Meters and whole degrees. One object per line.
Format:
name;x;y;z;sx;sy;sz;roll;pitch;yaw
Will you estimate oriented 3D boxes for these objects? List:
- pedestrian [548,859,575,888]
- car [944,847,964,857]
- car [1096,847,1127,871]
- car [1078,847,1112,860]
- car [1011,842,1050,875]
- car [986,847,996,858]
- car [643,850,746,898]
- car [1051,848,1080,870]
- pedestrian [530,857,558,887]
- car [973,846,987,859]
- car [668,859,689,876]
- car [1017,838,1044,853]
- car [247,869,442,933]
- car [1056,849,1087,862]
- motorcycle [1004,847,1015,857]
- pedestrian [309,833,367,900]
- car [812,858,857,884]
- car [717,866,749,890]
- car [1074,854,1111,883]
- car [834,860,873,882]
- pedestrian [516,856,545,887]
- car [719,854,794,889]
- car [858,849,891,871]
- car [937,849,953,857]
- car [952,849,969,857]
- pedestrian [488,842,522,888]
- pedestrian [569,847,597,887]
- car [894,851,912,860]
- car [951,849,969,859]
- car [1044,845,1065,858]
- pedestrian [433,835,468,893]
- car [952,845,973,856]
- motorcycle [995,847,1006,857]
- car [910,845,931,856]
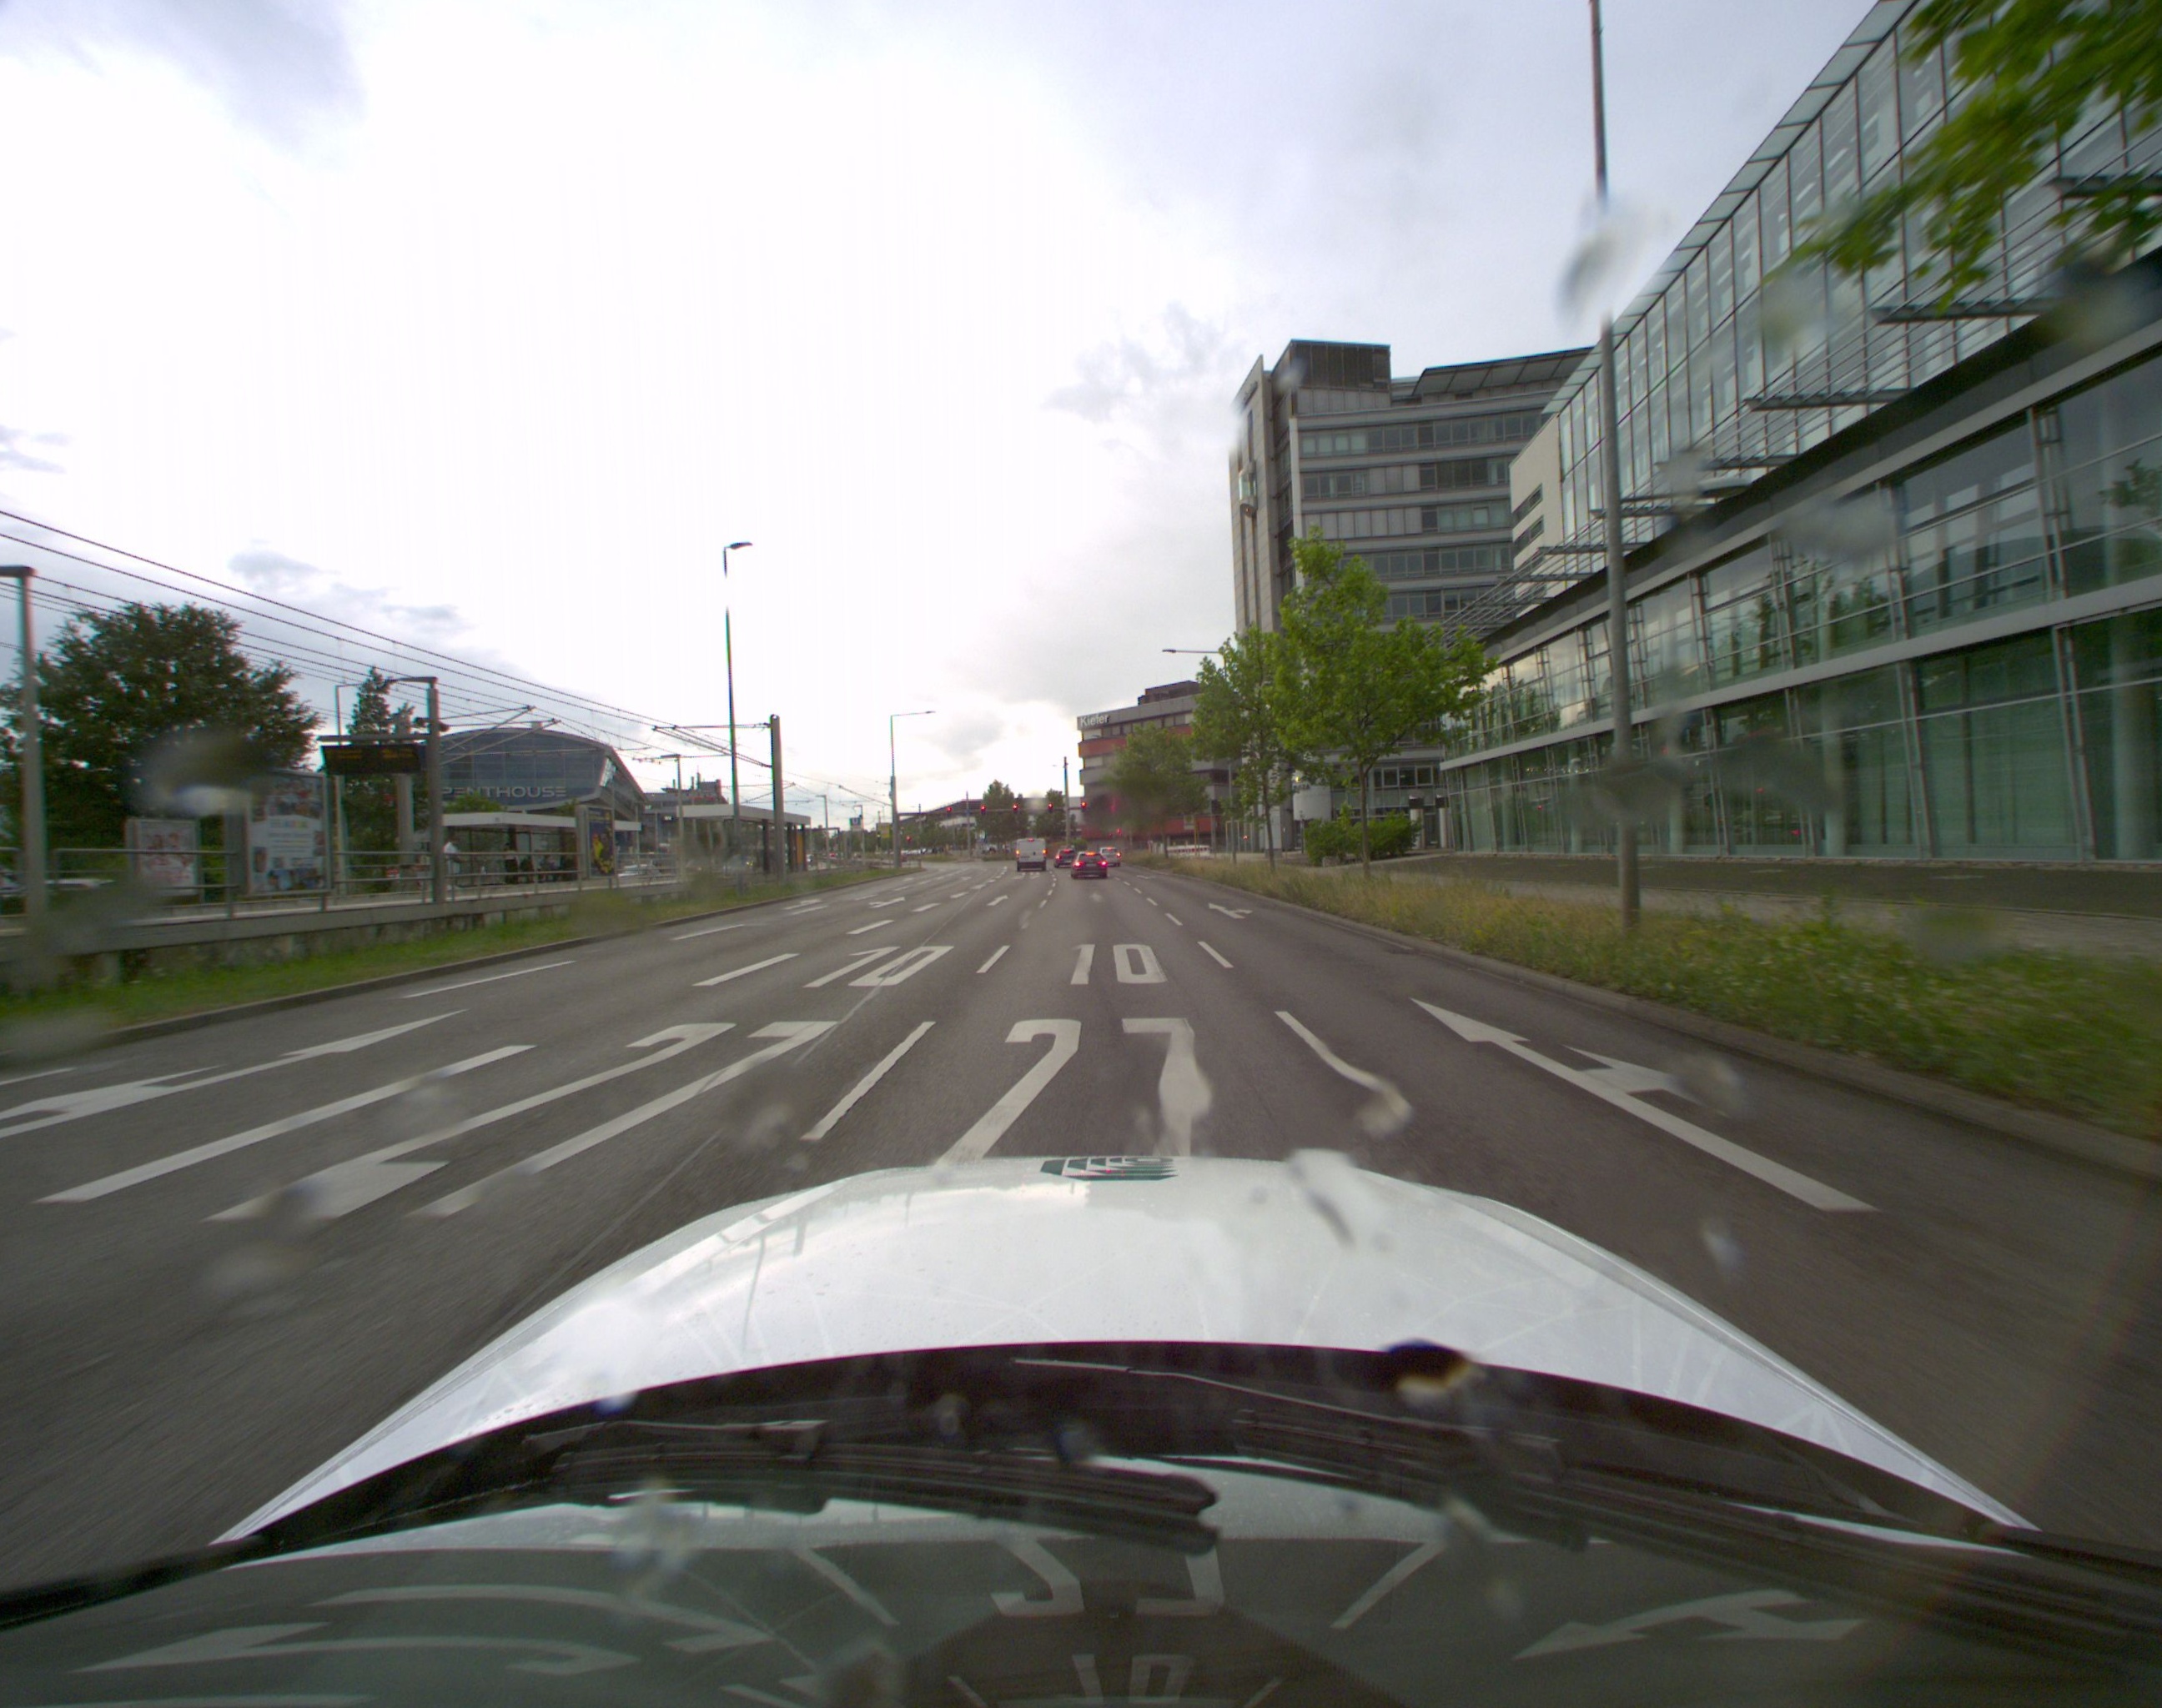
pedestrian;-23.111;0.856;36.254;0.725;1.253;0.730;-1;-2;-5
car;-27.285;-0.520;174.944;4.000;2.014;1.986;0;-3;-20
car;2.332;0.353;63.203;2.016;1.769;3.996;-1;0;-3
car;1.806;-0.041;106.721;2.039;1.623;4.272;0;-1;-44
car;-3.536;0.325;57.948;2.504;2.177;5.146;-1;-1;-1
car;-17.988;-0.295;163.293;1.817;2.014;3.460;-1;-3;-8
car;-13.909;0.667;29.552;1.989;1.452;3.844;-1;2;-3
car;-1.277;0.429;63.814;2.018;1.623;3.993;-1;-1;-5
pedestrian;-23.161;0.792;35.123;0.725;1.253;0.730;-1;-2;-5
car;-18.261;-0.252;147.290;1.996;2.014;3.980;-1;-3;-14
car;-52.207;1.756;105.592;2.008;2.014;3.957;1;-4;-34
car;-7.416;-1.182;119.497;2.011;2.014;3.951;2;-2;-44
car;-18.065;1.105;20.211;1.855;1.336;3.330;-1;0;-3
car;-1.290;0.201;110.150;2.039;1.623;3.951;0;-1;-44
motorcycle;-16.303;-0.421;186.183;1.996;2.014;3.980;0;-3;-13
pedestrian;-22.899;0.394;25.133;0.856;2.014;1.036;0;-4;-12
car;-16.777;1.150;55.600;1.989;1.675;3.843;2;-1;-3
car;-33.907;2.346;79.381;1.994;2.014;3.984;-1;-5;-10
car;0.664;0.748;43.875;1.756;1.463;4.631;0;0;3
car;-17.135;1.270;61.563;1.989;1.452;3.843;2;0;-3
pedestrian;-22.884;0.715;33.855;0.725;1.253;0.730;-1;-2;-5
car;-14.486;0.802;36.601;1.989;1.453;3.842;-1;-2;-3
car;-17.738;0.516;70.192;1.989;1.809;3.843;2;-1;-3
car;-37.371;-0.320;224.285;4.000;2.014;1.986;0;-3;-20
car;-30.786;-0.235;208.749;4.000;2.014;1.986;0;-3;-20
pedestrian;-22.038;0.425;31.178;0.727;1.715;0.830;-1;-2;-2
pedestrian;-22.095;0.593;36.125;0.750;1.751;0.763;-1;-3;-3
car;-42.147;0.332;193.104;4.000;2.014;1.986;0;-3;-20
car;-28.568;-0.015;192.522;4.000;2.014;1.986;0;-3;-20
car;-4.667;-0.472;142.469;2.005;2.014;3.963;0;-4;-28
pedestrian;-22.983;0.358;29.705;0.686;2.080;0.714;-1;0;2
car;-25.044;-0.730;172.145;4.000;2.014;1.986;0;-3;-20
motorcycle;-18.382;-0.388;185.600;1.996;2.014;3.980;0;-3;-13
car;-32.892;-0.727;166.999;4.000;2.014;1.986;0;-3;-20
